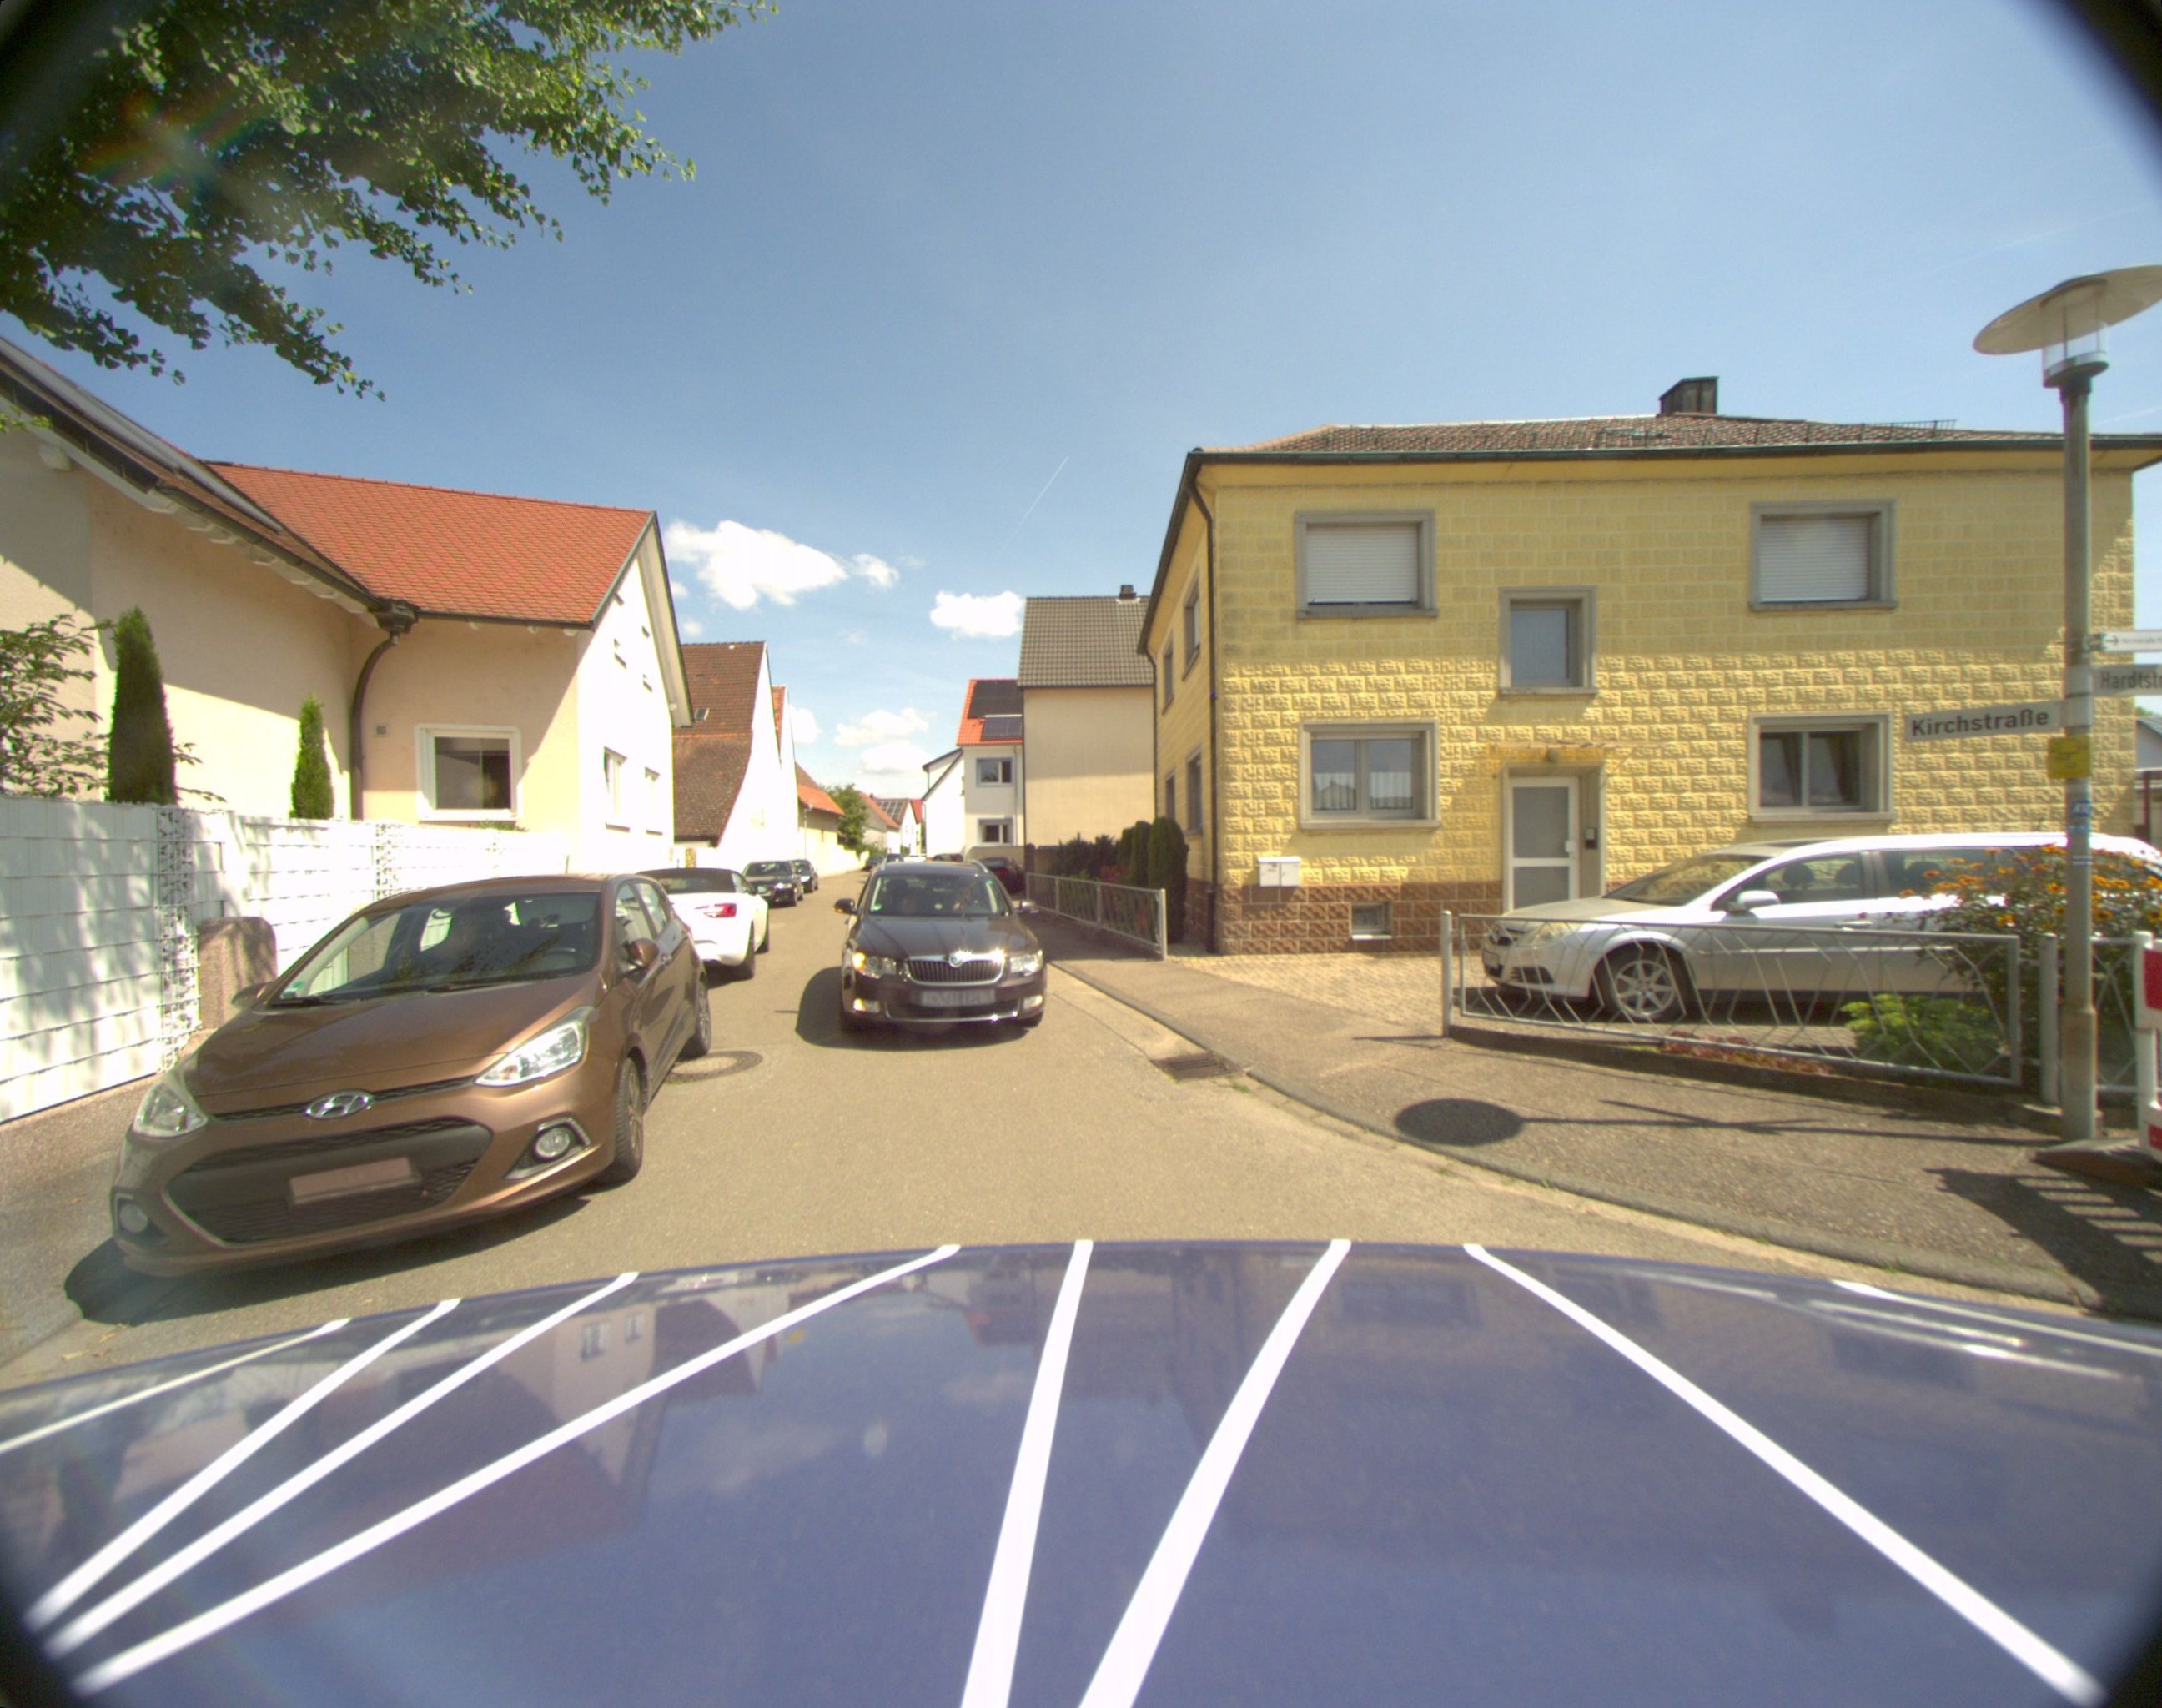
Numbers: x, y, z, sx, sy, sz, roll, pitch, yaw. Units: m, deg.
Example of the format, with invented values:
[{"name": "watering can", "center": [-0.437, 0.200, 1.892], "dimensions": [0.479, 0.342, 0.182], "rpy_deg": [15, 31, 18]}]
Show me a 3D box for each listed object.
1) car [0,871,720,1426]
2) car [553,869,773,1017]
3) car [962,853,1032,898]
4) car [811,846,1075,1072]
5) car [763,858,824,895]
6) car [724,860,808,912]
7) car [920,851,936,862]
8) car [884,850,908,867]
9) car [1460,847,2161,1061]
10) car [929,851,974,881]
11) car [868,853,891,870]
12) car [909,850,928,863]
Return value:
[{"name": "car", "center": [-3.430, 0.992, 4.556], "dimensions": [1.719, 1.524, 4.028], "rpy_deg": [-5, 2, -19]}, {"name": "car", "center": [-5.556, 1.013, 10.778], "dimensions": [1.903, 1.420, 4.729], "rpy_deg": [-2, 1, -19]}, {"name": "car", "center": [-2.990, 0.739, 27.959], "dimensions": [1.774, 1.342, 4.469], "rpy_deg": [-2, 1, 3]}, {"name": "car", "center": [-1.545, 0.890, 7.646], "dimensions": [1.787, 1.525, 4.706], "rpy_deg": [3, -4, -15]}, {"name": "car", "center": [-12.029, 0.891, 32.007], "dimensions": [1.903, 1.357, 4.408], "rpy_deg": [-2, 1, -14]}, {"name": "car", "center": [-9.875, 0.945, 24.174], "dimensions": [1.903, 1.357, 4.730], "rpy_deg": [-2, 1, -16]}, {"name": "car", "center": [-22.476, 0.352, 111.434], "dimensions": [1.785, 1.492, 4.036], "rpy_deg": [-4, 1, -5]}, {"name": "car", "center": [-19.072, 0.426, 78.475], "dimensions": [1.785, 1.600, 3.997], "rpy_deg": [-4, 1, -5]}, {"name": "car", "center": [5.936, 0.717, 6.546], "dimensions": [4.465, 1.477, 1.793], "rpy_deg": [-1, 1, 12]}, {"name": "car", "center": [-6.946, 0.615, 41.003], "dimensions": [1.641, 1.446, 3.787], "rpy_deg": [-2, 0, 1]}, {"name": "car", "center": [-18.399, 0.623, 69.425], "dimensions": [1.786, 1.471, 3.995], "rpy_deg": [-1, 1, -12]}, {"name": "car", "center": [-21.105, 0.297, 98.850], "dimensions": [1.785, 1.492, 4.036], "rpy_deg": [-4, 1, -5]}]
